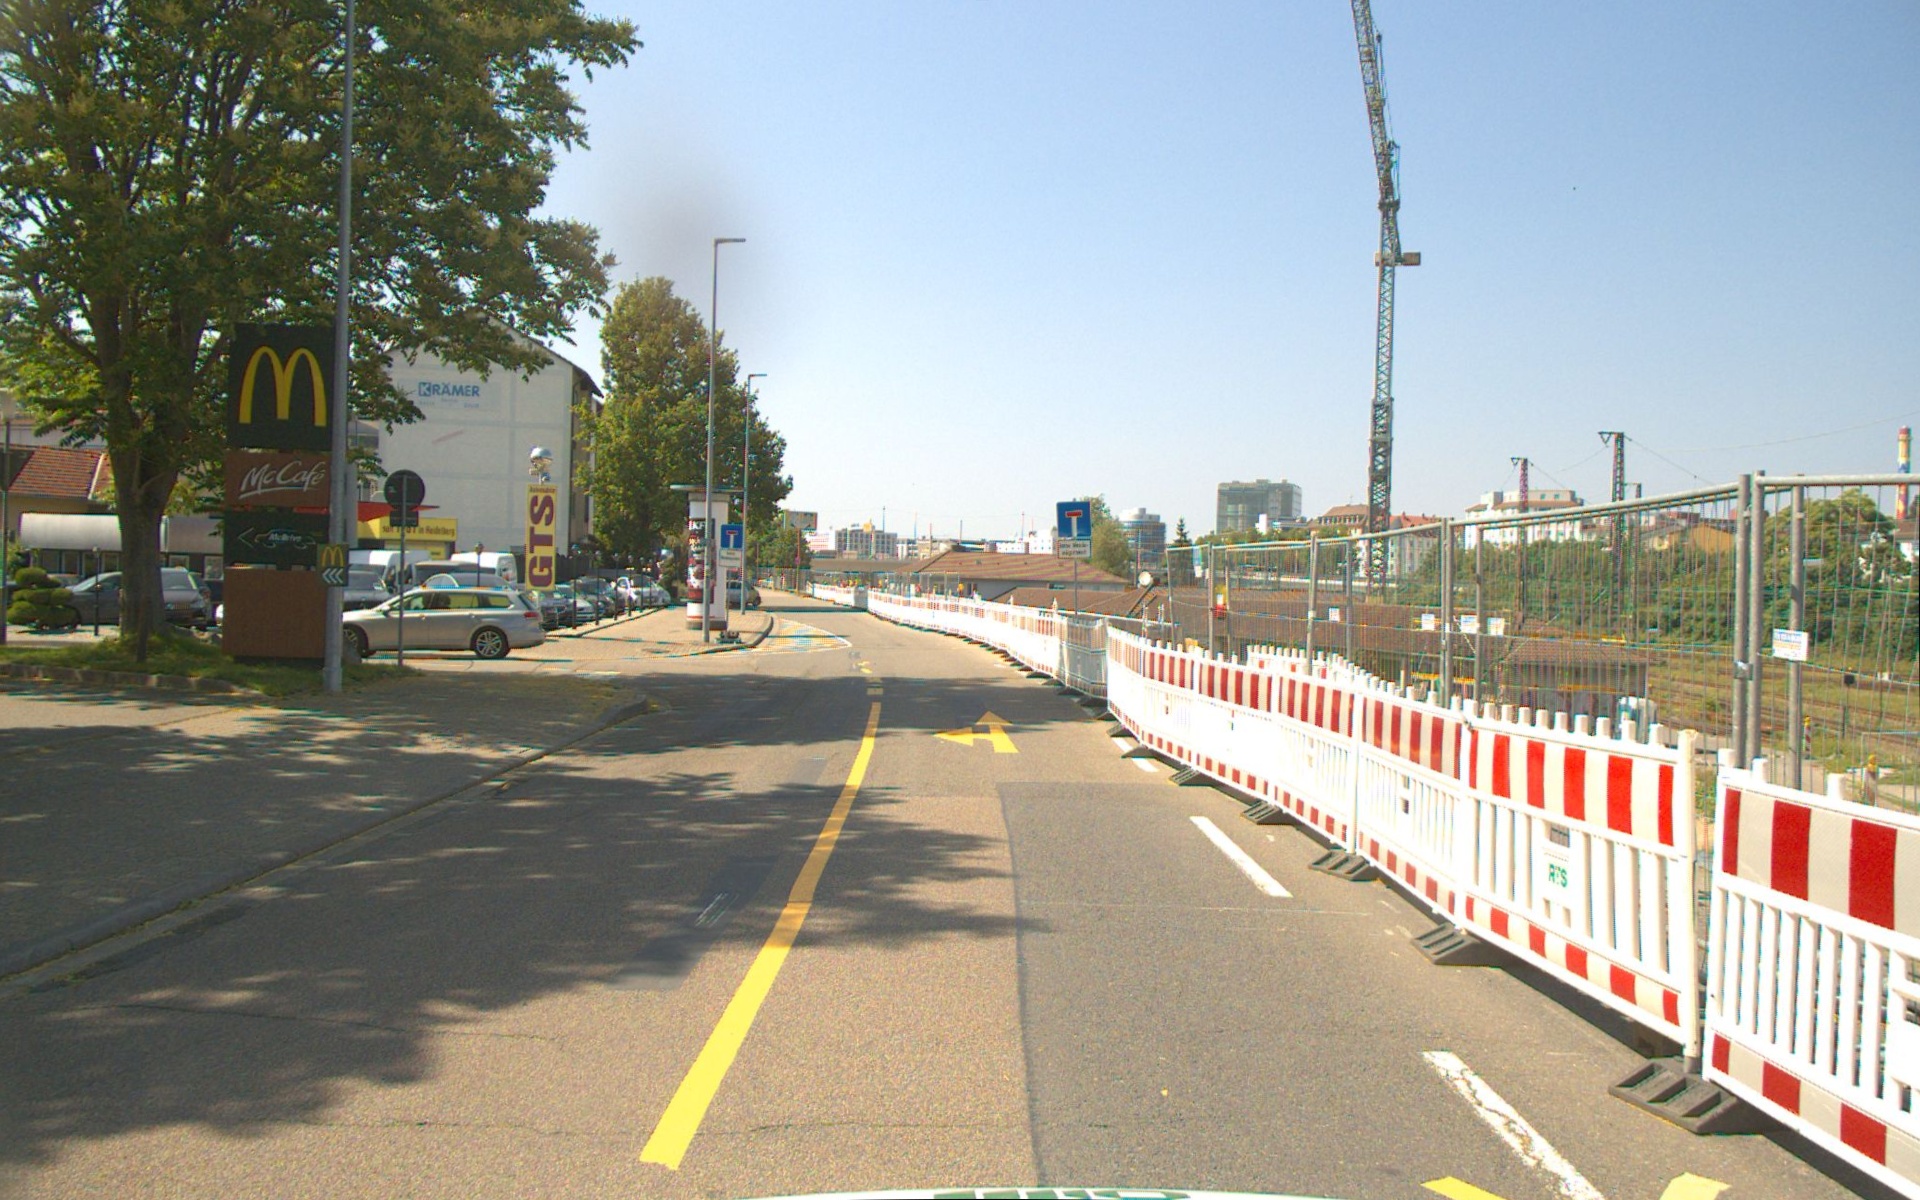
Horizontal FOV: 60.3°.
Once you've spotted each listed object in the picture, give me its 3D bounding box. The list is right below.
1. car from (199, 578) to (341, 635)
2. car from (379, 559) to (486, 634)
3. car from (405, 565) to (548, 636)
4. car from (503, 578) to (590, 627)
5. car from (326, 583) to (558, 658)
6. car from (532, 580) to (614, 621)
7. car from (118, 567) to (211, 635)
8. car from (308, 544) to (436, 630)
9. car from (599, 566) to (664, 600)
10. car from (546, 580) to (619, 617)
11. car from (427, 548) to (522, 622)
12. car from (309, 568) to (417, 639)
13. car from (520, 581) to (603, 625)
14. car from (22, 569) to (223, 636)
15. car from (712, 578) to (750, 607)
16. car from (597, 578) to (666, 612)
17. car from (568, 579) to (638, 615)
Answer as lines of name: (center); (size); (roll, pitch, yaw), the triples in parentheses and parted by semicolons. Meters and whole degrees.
car: (-20.507, 0.147, 49.377); (1.868, 1.602, 4.691); (1, 1, 6)
car: (-17.650, -0.071, 55.570); (2.201, 2.391, 4.821); (0, -1, -2)
car: (-13.098, 0.042, 44.667); (1.964, 1.736, 4.594); (-1, -1, -41)
car: (-13.847, 0.059, 55.277); (1.816, 1.498, 3.961); (-2, 1, -29)
car: (-10.732, 0.417, 34.603); (4.513, 1.519, 1.676); (0, 0, -15)
car: (-15.151, 0.012, 64.606); (1.655, 1.498, 3.947); (-2, 1, -37)
car: (-20.751, -0.015, 43.064); (1.787, 1.685, 4.269); (-1, 1, -31)
car: (-20.461, -0.423, 57.896); (2.230, 2.806, 6.153); (0, 0, 0)
car: (-20.750, -1.073, 104.423); (3.857, 1.993, 1.753); (2, 0, -14)
car: (-15.858, -0.073, 69.323); (1.653, 1.498, 3.952); (-2, 1, -34)
car: (-18.077, -0.504, 61.907); (2.203, 2.472, 5.711); (4, -1, -6)
car: (-15.522, 0.114, 42.855); (2.020, 1.737, 4.273); (0, -1, -29)
car: (-14.628, 0.103, 60.586); (1.763, 1.498, 3.956); (-2, 1, -32)
car: (-24.417, 0.060, 48.353); (4.856, 1.874, 2.127); (0, 0, -45)
car: (-12.918, -0.439, 93.330); (1.832, 1.524, 4.029); (0, 2, -4)
car: (-15.421, -0.251, 77.420); (1.761, 1.498, 3.952); (-2, 1, -34)
car: (-15.950, -0.148, 73.816); (1.653, 1.498, 3.952); (-2, 1, -34)
